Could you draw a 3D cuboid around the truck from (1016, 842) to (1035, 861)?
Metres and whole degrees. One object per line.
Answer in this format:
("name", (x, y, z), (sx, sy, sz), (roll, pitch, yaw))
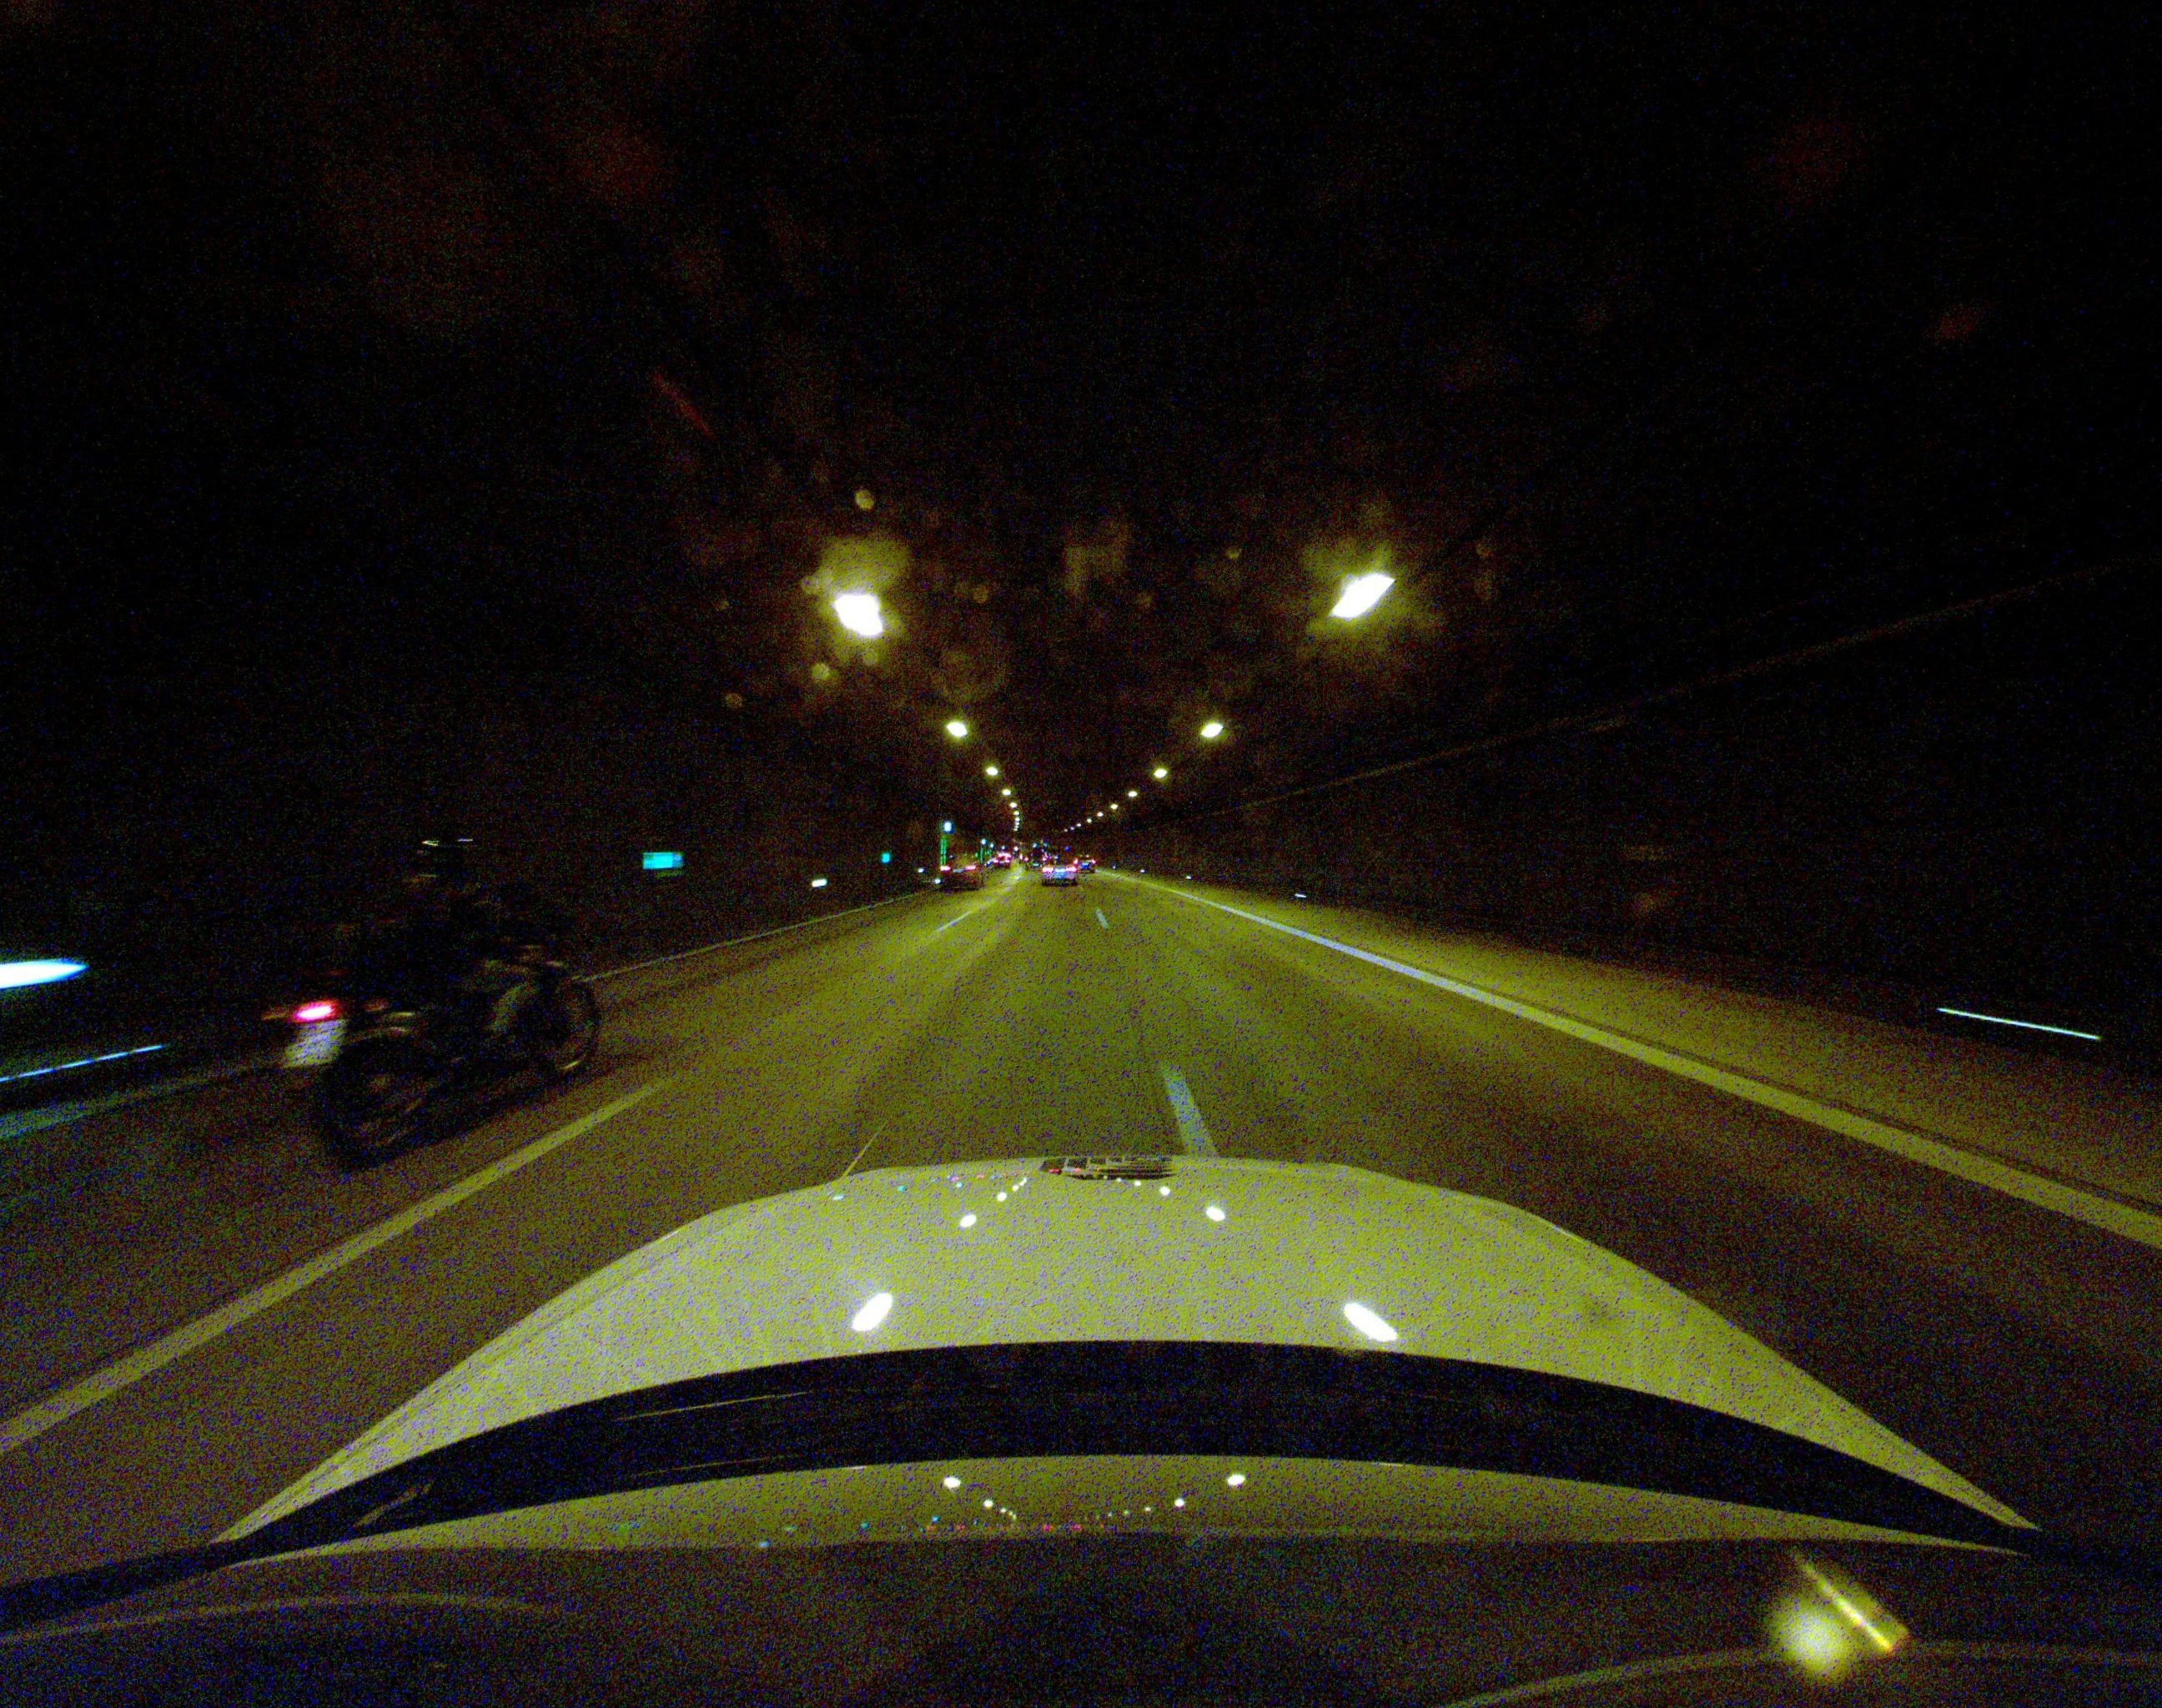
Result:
("truck", (-9.165, -0.476, 135.284), (3.076, 3.113, 10.016), (1, 1, -4))

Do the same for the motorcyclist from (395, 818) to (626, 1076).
("motorcyclist", (-3.509, 0.536, 5.087), (0.835, 1.477, 0.822), (-1, 0, 4))

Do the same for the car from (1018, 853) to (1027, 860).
("car", (-13.473, 0.575, 187.864), (1.989, 1.754, 3.995), (1, -1, -4))

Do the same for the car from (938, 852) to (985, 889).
("car", (-5.598, 0.739, 38.426), (1.781, 1.598, 3.797), (-1, 0, -3))

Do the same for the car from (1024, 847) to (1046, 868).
("car", (-4.479, 0.348, 80.028), (1.988, 1.972, 3.998), (-1, -1, -1))

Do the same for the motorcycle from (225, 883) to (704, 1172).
("motorcycle", (-3.496, 0.855, 5.108), (0.841, 1.246, 2.608), (-1, 0, 5))

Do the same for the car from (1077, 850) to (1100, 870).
("car", (0.607, 0.524, 67.611), (1.834, 1.602, 3.998), (0, 0, -1))

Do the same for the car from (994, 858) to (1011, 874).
("car", (-8.390, 1.232, 87.569), (1.797, 1.684, 3.993), (0, 0, -5))

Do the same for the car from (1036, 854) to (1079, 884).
("car", (-1.164, 0.742, 41.979), (1.987, 1.483, 4.000), (0, 0, 1))
